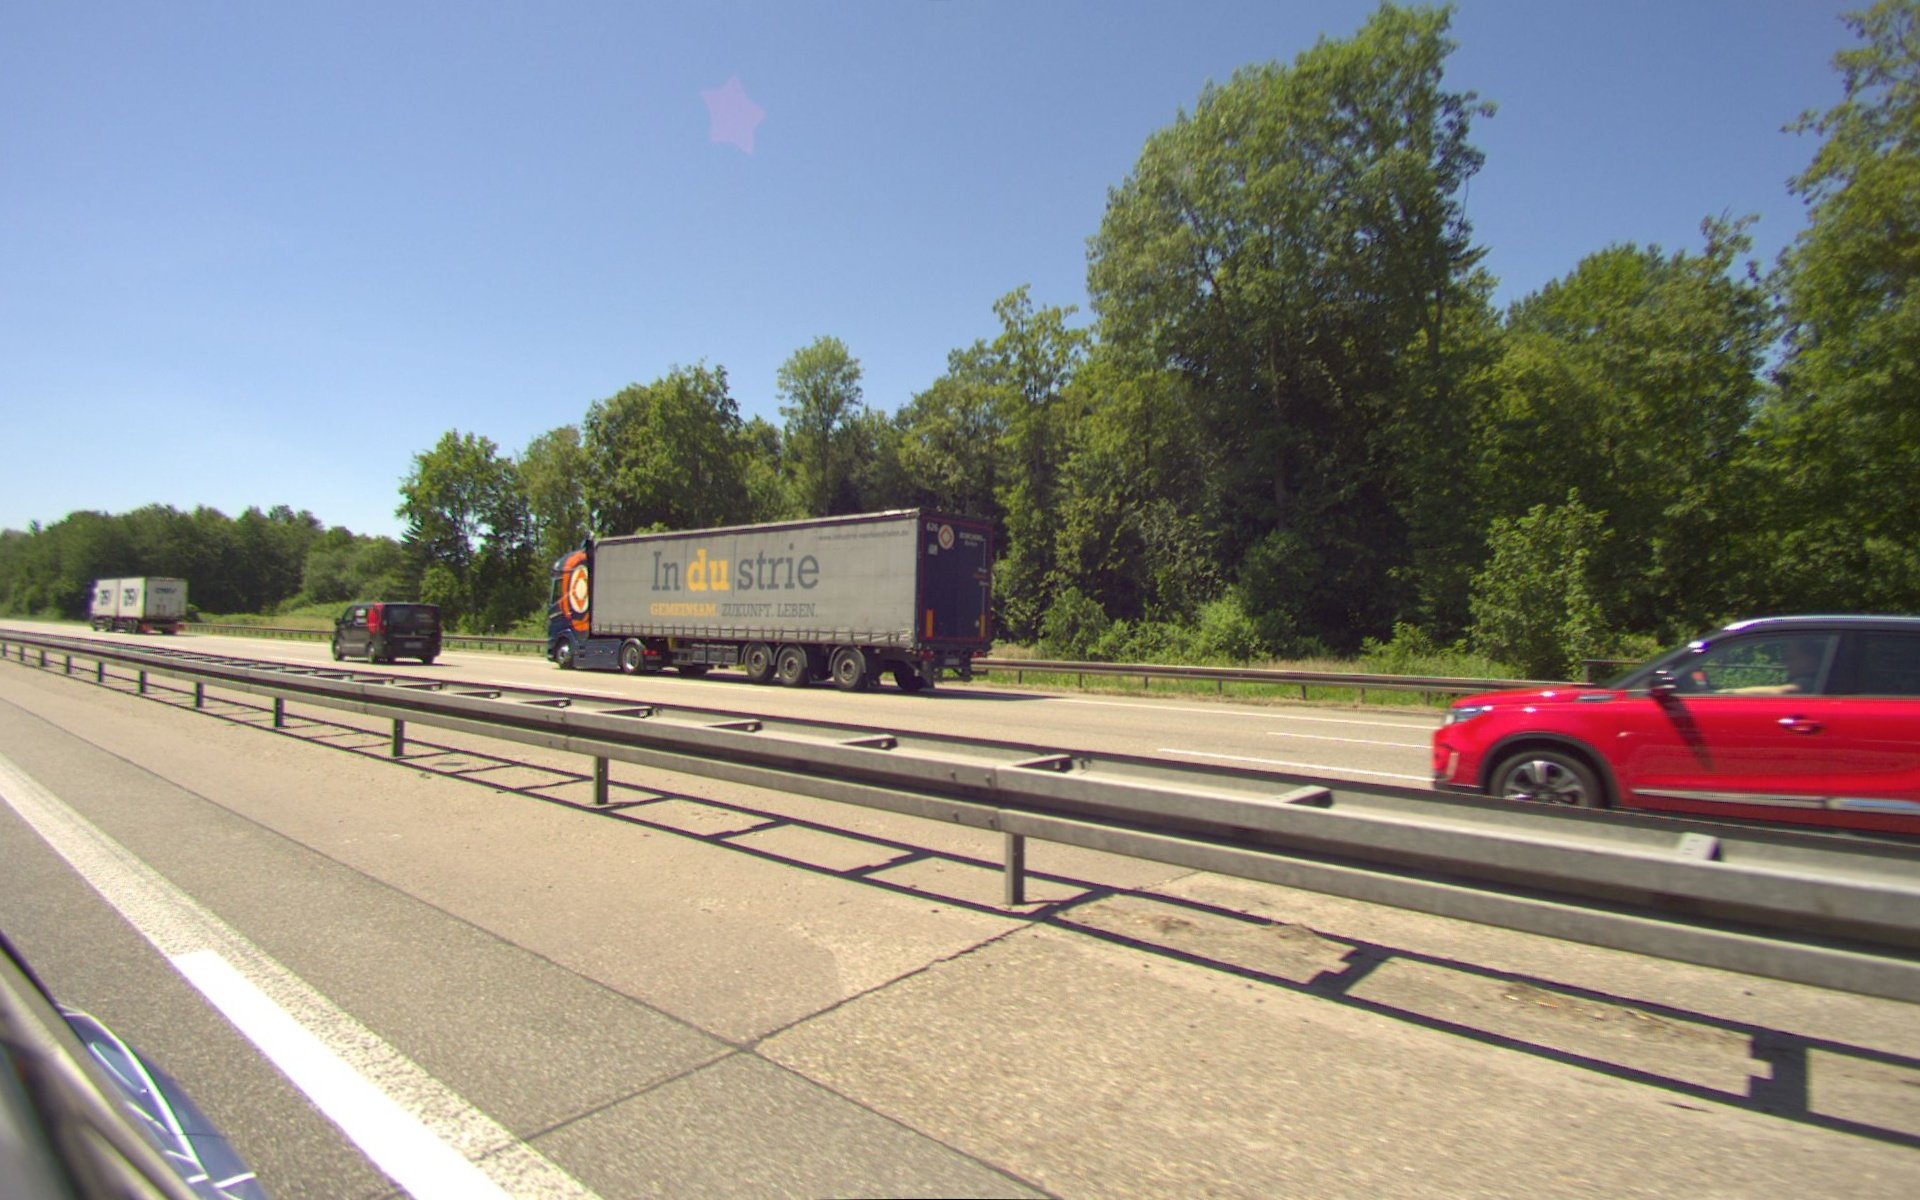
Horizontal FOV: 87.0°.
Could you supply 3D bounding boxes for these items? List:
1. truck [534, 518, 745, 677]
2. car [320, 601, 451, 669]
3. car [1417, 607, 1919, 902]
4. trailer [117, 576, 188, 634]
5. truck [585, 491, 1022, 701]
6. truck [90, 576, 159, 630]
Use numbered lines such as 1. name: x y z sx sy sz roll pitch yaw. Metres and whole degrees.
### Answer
1. truck: -10.038 -0.080 31.379 6.609 4.374 3.289 0 0 41
2. car: -18.806 1.097 33.009 5.356 2.029 1.973 0 -3 41
3. car: 5.616 0.859 6.445 4.643 1.597 1.713 0 0 42
4. trailer: -59.012 0.341 73.867 8.555 4.019 2.552 0 0 41
5. truck: -4.872 -0.088 26.896 13.903 4.374 3.289 0 0 41
6. truck: -66.179 0.204 80.088 10.333 4.038 2.554 0 0 41
